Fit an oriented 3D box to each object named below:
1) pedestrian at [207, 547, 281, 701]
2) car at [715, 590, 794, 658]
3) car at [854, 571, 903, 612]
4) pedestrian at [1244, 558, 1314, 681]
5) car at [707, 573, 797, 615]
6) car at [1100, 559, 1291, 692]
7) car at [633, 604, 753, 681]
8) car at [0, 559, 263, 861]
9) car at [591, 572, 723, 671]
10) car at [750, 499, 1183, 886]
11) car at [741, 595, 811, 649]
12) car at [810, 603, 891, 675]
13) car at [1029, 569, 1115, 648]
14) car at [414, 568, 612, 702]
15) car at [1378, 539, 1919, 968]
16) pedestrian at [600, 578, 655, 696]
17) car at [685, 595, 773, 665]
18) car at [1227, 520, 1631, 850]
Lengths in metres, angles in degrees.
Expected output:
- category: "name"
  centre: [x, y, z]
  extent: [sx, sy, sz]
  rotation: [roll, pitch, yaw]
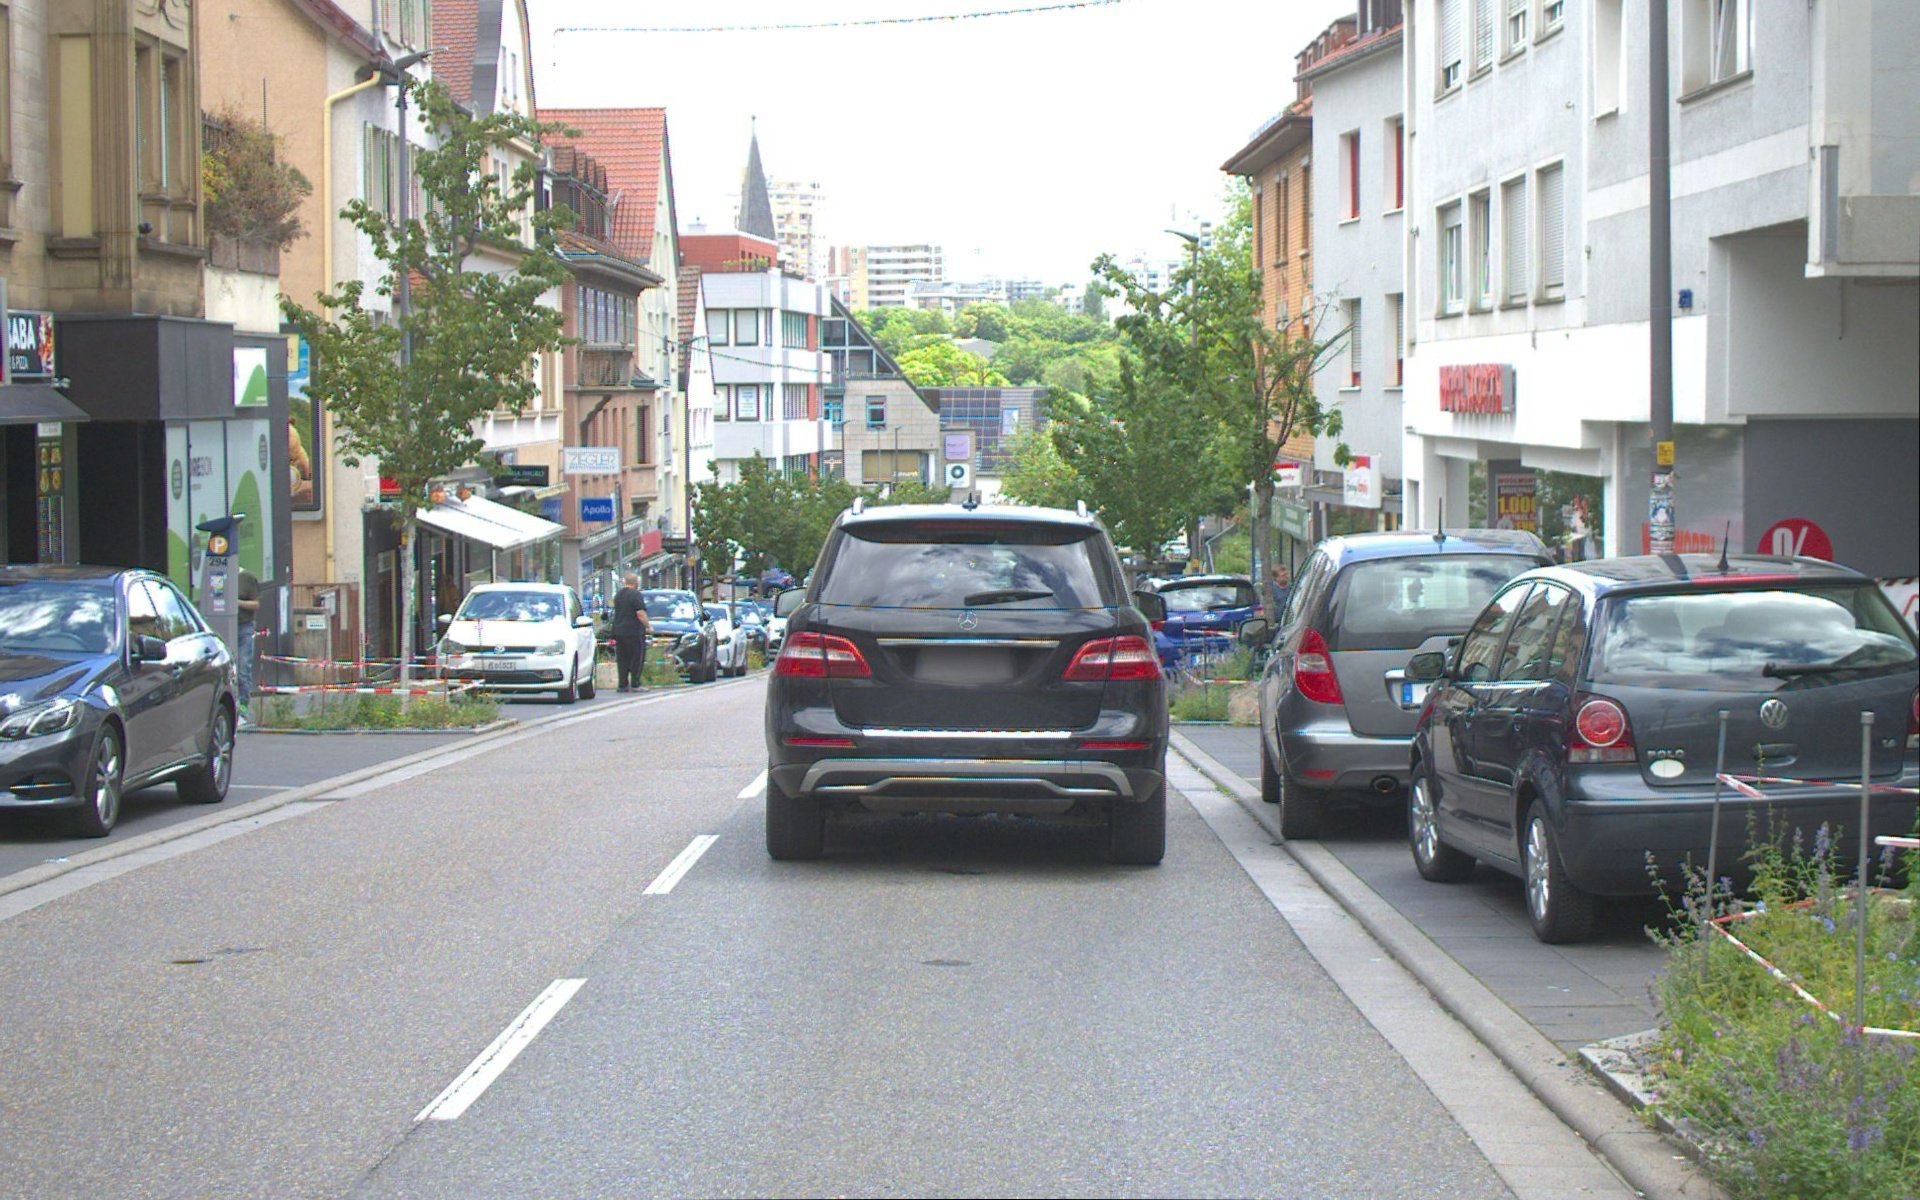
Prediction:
- category: "pedestrian"
  centre: [-6.942, 0.230, 33.342]
  extent: [0.491, 1.458, 0.559]
  rotation: [2, 0, 9]
- category: "car"
  centre: [-5.273, 0.606, 88.632]
  extent: [1.926, 1.590, 4.458]
  rotation: [2, 1, -3]
- category: "car"
  centre: [-3.449, -0.368, 146.036]
  extent: [1.926, 1.623, 4.262]
  rotation: [2, 1, 0]
- category: "pedestrian"
  centre: [4.148, 0.248, 44.747]
  extent: [0.756, 1.555, 0.817]
  rotation: [-2, 0, -2]
- category: "car"
  centre: [-9.452, -0.258, 156.428]
  extent: [3.986, 1.744, 2.000]
  rotation: [-2, 0, -3]
- category: "car"
  centre: [2.873, 0.332, 42.678]
  extent: [1.748, 1.493, 3.800]
  rotation: [-3, -1, -5]
- category: "car"
  centre: [-5.214, 0.819, 67.654]
  extent: [1.926, 1.425, 4.262]
  rotation: [1, 0, 1]
- category: "car"
  centre: [-5.493, 0.529, 19.980]
  extent: [1.926, 1.487, 4.843]
  rotation: [2, 1, -1]
- category: "car"
  centre: [-5.242, 0.368, 59.928]
  extent: [1.926, 1.616, 4.639]
  rotation: [1, 0, -1]
- category: "car"
  centre: [0.048, 0.384, 17.682]
  extent: [1.943, 1.734, 4.179]
  rotation: [1, 1, 1]
- category: "car"
  centre: [-5.614, 0.662, 105.066]
  extent: [1.926, 1.491, 4.262]
  rotation: [2, 1, -1]
- category: "car"
  centre: [-2.636, 0.924, 81.994]
  extent: [1.819, 1.612, 4.136]
  rotation: [-2, 0, -2]
- category: "car"
  centre: [2.821, 0.185, 87.307]
  extent: [1.938, 1.885, 4.707]
  rotation: [-2, 1, 0]
- category: "car"
  centre: [-5.483, 0.390, 42.632]
  extent: [1.926, 1.506, 4.262]
  rotation: [2, 1, -1]
- category: "car"
  centre: [2.945, 0.528, 14.333]
  extent: [1.748, 1.503, 3.875]
  rotation: [-2, 1, -2]
- category: "pedestrian"
  centre: [-4.760, 0.521, 49.244]
  extent: [0.737, 1.666, 0.863]
  rotation: [0, 0, -2]
- category: "car"
  centre: [-5.433, 0.682, 81.244]
  extent: [1.926, 1.491, 4.262]
  rotation: [2, 1, -3]
- category: "car"
  centre: [2.501, 0.407, 19.149]
  extent: [1.748, 1.602, 3.800]
  rotation: [-2, 1, 1]
